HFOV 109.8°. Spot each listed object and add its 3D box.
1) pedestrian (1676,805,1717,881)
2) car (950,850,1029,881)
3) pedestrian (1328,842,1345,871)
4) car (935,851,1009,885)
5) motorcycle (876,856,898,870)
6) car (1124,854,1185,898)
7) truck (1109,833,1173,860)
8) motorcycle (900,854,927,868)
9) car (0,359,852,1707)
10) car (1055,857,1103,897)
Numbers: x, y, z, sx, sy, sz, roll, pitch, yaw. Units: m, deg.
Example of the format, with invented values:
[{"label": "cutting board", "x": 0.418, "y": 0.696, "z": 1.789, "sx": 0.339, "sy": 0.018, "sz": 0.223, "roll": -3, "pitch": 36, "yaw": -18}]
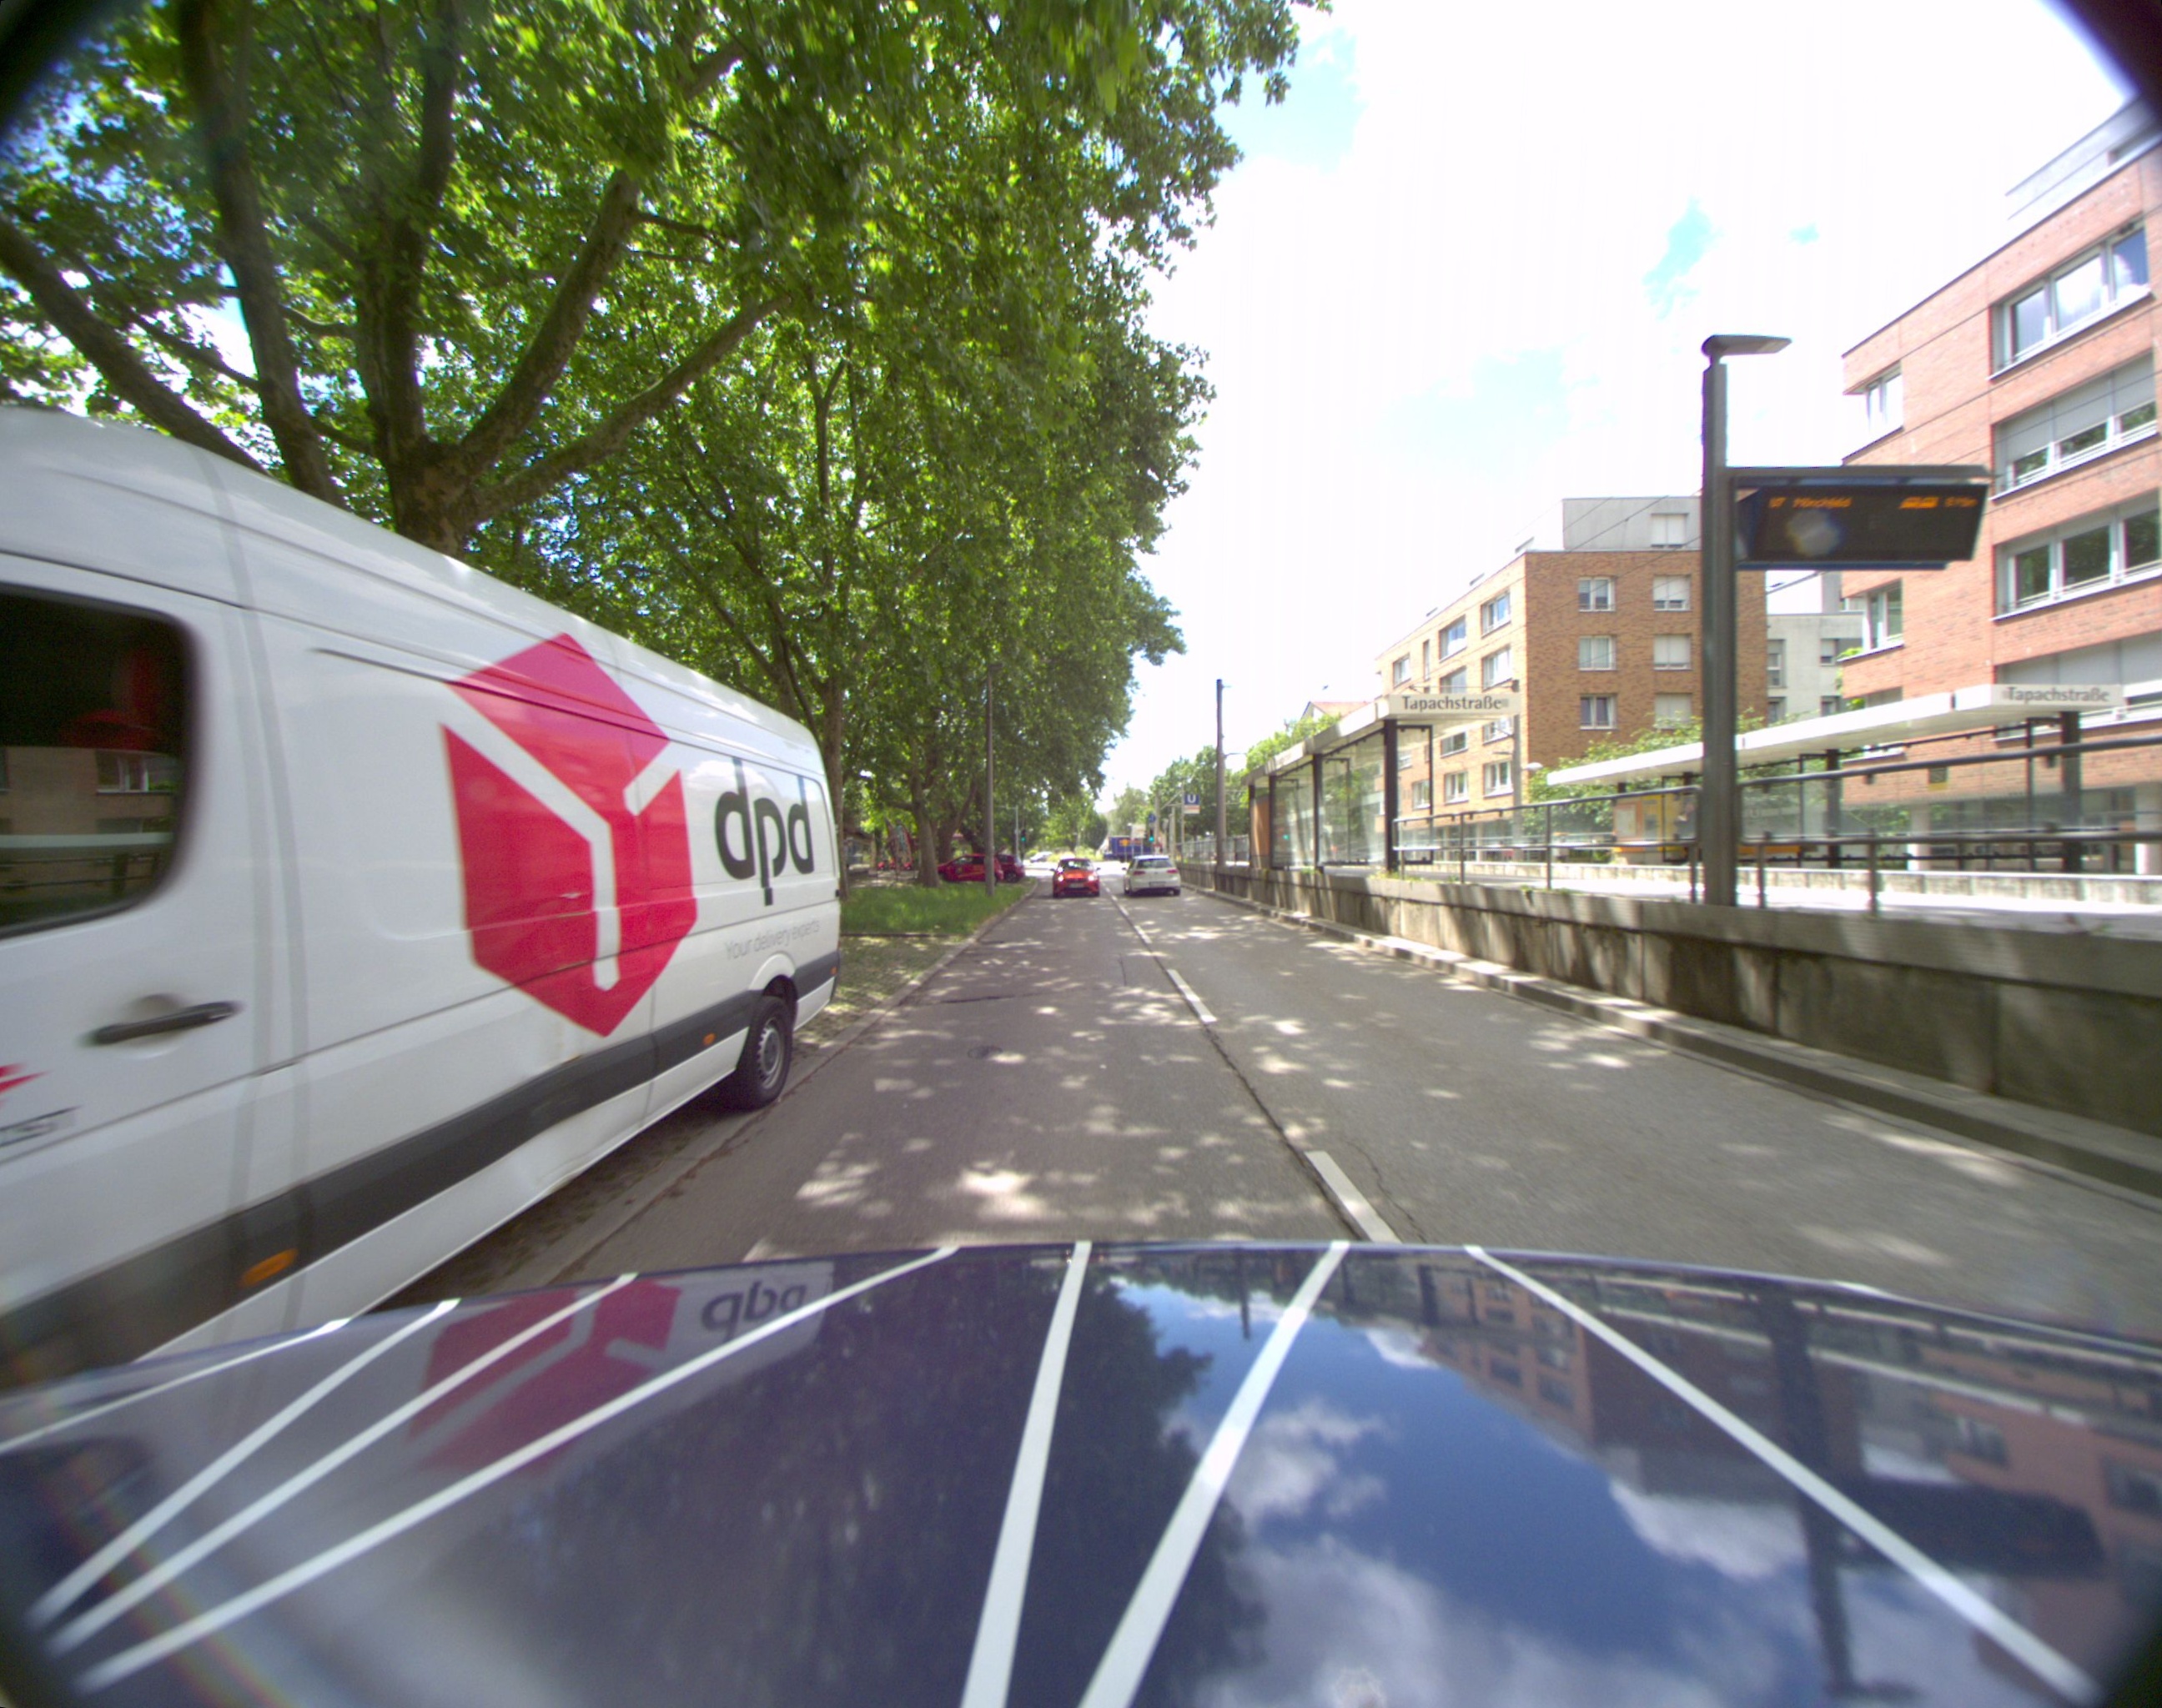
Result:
[{"label": "pedestrian", "x": 14.549, "y": -0.252, "z": 17.955, "sx": 0.535, "sy": 1.753, "sz": 0.528, "roll": 0, "pitch": 1, "yaw": -3}, {"label": "car", "x": -4.964, "y": 0.625, "z": 41.461, "sx": 4.038, "sy": 1.602, "sz": 1.731, "roll": 1, "pitch": 0, "yaw": 2}, {"label": "pedestrian", "x": 16.345, "y": 0.180, "z": 48.602, "sx": 0.745, "sy": 1.814, "sz": 0.829, "roll": 0, "pitch": 0, "yaw": -1}, {"label": "car", "x": -5.257, "y": 0.659, "z": 37.099, "sx": 3.417, "sy": 1.506, "sz": 1.609, "roll": 2, "pitch": 0, "yaw": -4}, {"label": "motorcycle", "x": -16.774, "y": 0.756, "z": 65.581, "sx": 2.132, "sy": 1.188, "sz": 0.741, "roll": 0, "pitch": 0, "yaw": 42}, {"label": "car", "x": 2.590, "y": 0.736, "z": 27.564, "sx": 1.736, "sy": 1.388, "sz": 3.751, "roll": -2, "pitch": 0, "yaw": -1}, {"label": "truck", "x": 9.201, "y": -1.102, "z": 116.147, "sx": 9.622, "sy": 4.069, "sz": 2.625, "roll": 0, "pitch": 0, "yaw": -26}, {"label": "motorcycle", "x": -14.468, "y": 0.628, "z": 65.514, "sx": 2.135, "sy": 1.188, "sz": 0.740, "roll": 0, "pitch": 0, "yaw": 9}, {"label": "car", "x": -2.816, "y": 0.421, "z": 2.679, "sx": 1.909, "sy": 2.566, "sz": 6.833, "roll": 1, "pitch": 0, "yaw": 0}, {"label": "car", "x": -0.062, "y": 0.848, "z": 29.624, "sx": 1.712, "sy": 1.439, "sz": 3.670, "roll": -2, "pitch": 0, "yaw": 0}]
